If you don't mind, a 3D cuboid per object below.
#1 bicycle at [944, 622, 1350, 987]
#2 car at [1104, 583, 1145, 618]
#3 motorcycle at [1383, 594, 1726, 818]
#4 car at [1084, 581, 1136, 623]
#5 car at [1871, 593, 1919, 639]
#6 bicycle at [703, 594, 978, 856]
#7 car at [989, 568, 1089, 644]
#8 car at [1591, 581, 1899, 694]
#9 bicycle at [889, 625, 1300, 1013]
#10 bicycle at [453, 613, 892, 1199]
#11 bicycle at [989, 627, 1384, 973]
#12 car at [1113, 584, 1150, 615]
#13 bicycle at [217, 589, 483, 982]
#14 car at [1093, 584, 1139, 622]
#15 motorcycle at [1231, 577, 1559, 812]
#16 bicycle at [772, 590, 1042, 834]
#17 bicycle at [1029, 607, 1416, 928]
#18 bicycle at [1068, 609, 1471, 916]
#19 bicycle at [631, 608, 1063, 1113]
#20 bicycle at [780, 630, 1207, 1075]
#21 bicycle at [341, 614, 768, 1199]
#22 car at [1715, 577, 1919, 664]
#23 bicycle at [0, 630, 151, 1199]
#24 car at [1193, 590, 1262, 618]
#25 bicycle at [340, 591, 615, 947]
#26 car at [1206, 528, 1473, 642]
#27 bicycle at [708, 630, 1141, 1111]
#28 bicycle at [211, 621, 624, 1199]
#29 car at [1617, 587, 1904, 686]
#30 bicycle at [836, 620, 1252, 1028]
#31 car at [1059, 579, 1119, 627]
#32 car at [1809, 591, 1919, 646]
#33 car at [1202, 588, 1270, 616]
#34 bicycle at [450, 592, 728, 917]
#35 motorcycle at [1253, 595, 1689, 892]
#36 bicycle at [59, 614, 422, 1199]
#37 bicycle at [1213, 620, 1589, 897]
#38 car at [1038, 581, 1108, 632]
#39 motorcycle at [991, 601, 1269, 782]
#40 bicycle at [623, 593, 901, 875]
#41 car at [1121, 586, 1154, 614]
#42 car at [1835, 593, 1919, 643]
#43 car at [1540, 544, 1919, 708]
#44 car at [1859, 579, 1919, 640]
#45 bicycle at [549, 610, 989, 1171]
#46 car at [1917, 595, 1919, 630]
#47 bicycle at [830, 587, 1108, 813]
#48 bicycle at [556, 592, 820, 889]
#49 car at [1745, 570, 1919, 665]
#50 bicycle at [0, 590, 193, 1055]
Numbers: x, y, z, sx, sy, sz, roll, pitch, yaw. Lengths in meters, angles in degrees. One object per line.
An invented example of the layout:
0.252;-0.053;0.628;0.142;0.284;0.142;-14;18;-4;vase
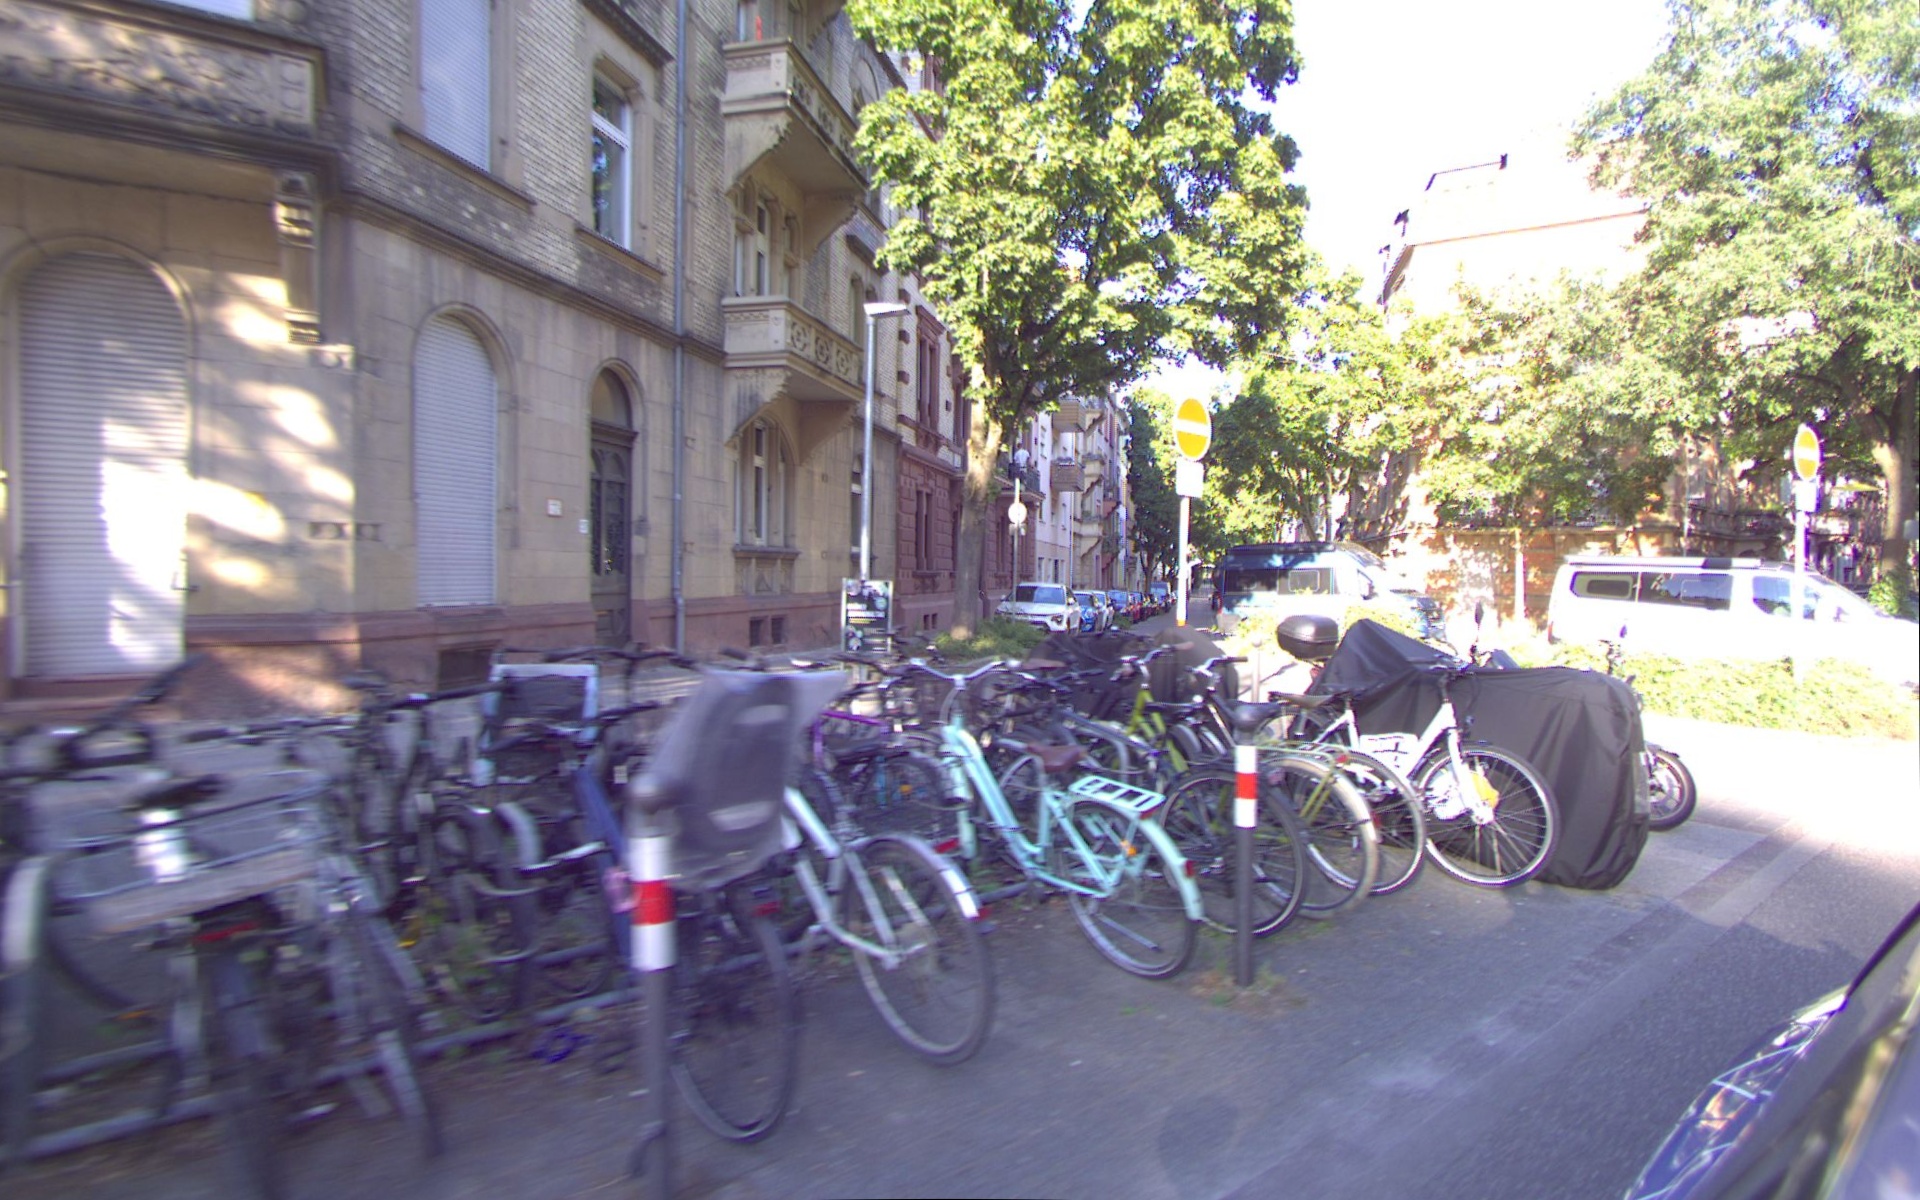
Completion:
0.718;0.768;4.502;1.925;1.261;0.298;2;1;45;bicycle
8.288;-0.013;50.837;1.838;1.602;4.230;1;1;12;car
4.175;0.657;7.256;0.611;1.344;2.017;1;1;-43;motorcycle
6.167;0.044;41.212;1.838;1.602;4.230;1;1;12;car
37.450;0.651;38.576;1.695;1.669;3.890;0;2;-42;car
-0.762;0.615;5.861;1.925;1.261;0.472;2;1;45;bicycle
1.998;0.085;24.550;1.755;1.630;4.201;2;1;14;car
13.188;0.537;17.189;1.710;1.615;3.849;0;2;-40;car
0.455;0.781;4.293;1.925;1.261;0.298;2;1;45;bicycle
-0.954;0.701;2.923;1.925;1.261;0.298;2;1;45;bicycle
0.947;0.801;4.732;1.925;1.261;0.298;2;1;45;bicycle
9.504;-0.072;55.995;1.838;1.602;4.230;1;1;12;car
-2.587;0.603;4.179;1.925;1.261;0.472;2;1;45;bicycle
7.158;0.079;46.143;1.838;1.602;4.230;1;1;12;car
3.014;0.568;7.231;0.682;1.379;2.028;1;2;-40;motorcycle
-0.394;0.590;6.234;1.925;1.261;0.472;2;1;45;bicycle
1.170;0.695;4.938;1.925;1.261;0.298;2;1;45;bicycle
1.524;0.712;5.279;1.925;1.261;0.638;2;1;44;bicycle
-0.505;0.688;3.426;1.925;1.261;0.298;2;1;45;bicycle
0.007;0.793;3.861;1.925;1.261;0.298;2;1;45;bicycle
-1.189;0.701;2.673;1.906;1.261;0.298;2;1;45;bicycle
19.265;0.397;22.243;1.769;1.713;3.994;0;2;-41;car
-1.875;0.735;1.920;1.925;1.261;0.298;2;1;45;bicycle
17.119;0.220;64.813;3.978;1.742;1.757;1;0;38;car
-2.225;0.607;4.519;1.925;1.261;0.472;2;1;45;bicycle
9.485;-0.416;25.728;5.896;2.569;2.342;2;1;44;car
-0.250;0.787;3.636;1.925;1.261;0.298;2;1;45;bicycle
-1.407;0.722;2.407;1.925;1.261;0.298;2;1;45;bicycle
14.620;0.580;18.634;1.815;1.534;3.849;0;2;-40;car
0.223;0.750;4.099;1.925;1.261;0.298;2;1;45;bicycle
4.767;0.074;36.996;1.838;1.602;4.230;1;1;12;car
28.397;0.574;30.458;1.810;1.516;4.091;0;2;-39;car
18.210;0.111;66.771;3.978;1.742;1.757;1;0;38;car
-1.858;0.609;4.880;1.925;1.261;0.472;2;1;45;bicycle
2.871;0.683;5.893;0.888;1.300;2.027;0;3;-41;motorcycle
-1.648;0.695;2.173;1.925;1.261;0.298;2;1;45;bicycle
2.301;0.753;5.522;0.436;1.141;1.821;1;3;-41;bicycle
3.700;0.151;32.515;1.838;1.493;4.230;1;1;12;car
1.271;0.626;7.958;0.888;1.122;2.027;0;3;-41;motorcycle
-1.147;0.613;5.502;1.925;1.261;0.472;2;1;45;bicycle
11.009;-0.032;62.626;1.838;1.602;4.230;1;1;12;car
30.397;0.591;31.610;1.899;1.473;4.380;0;2;-39;car
11.869;0.268;15.274;2.068;2.122;4.984;0;2;-40;car
34.565;0.369;34.854;2.121;1.963;5.103;-4;4;-39;car
-0.723;0.693;3.169;1.925;1.261;0.298;2;1;45;bicycle
44.507;0.631;43.562;1.964;1.548;4.564;1;2;-38;car
0.000;0.563;6.690;1.925;1.261;0.638;2;1;44;bicycle
-1.481;0.610;5.244;1.925;1.261;0.389;2;1;45;bicycle
21.391;0.378;23.555;1.966;2.038;4.622;0;2;-42;car
-3.218;0.611;3.622;1.925;1.261;0.472;2;1;45;bicycle
